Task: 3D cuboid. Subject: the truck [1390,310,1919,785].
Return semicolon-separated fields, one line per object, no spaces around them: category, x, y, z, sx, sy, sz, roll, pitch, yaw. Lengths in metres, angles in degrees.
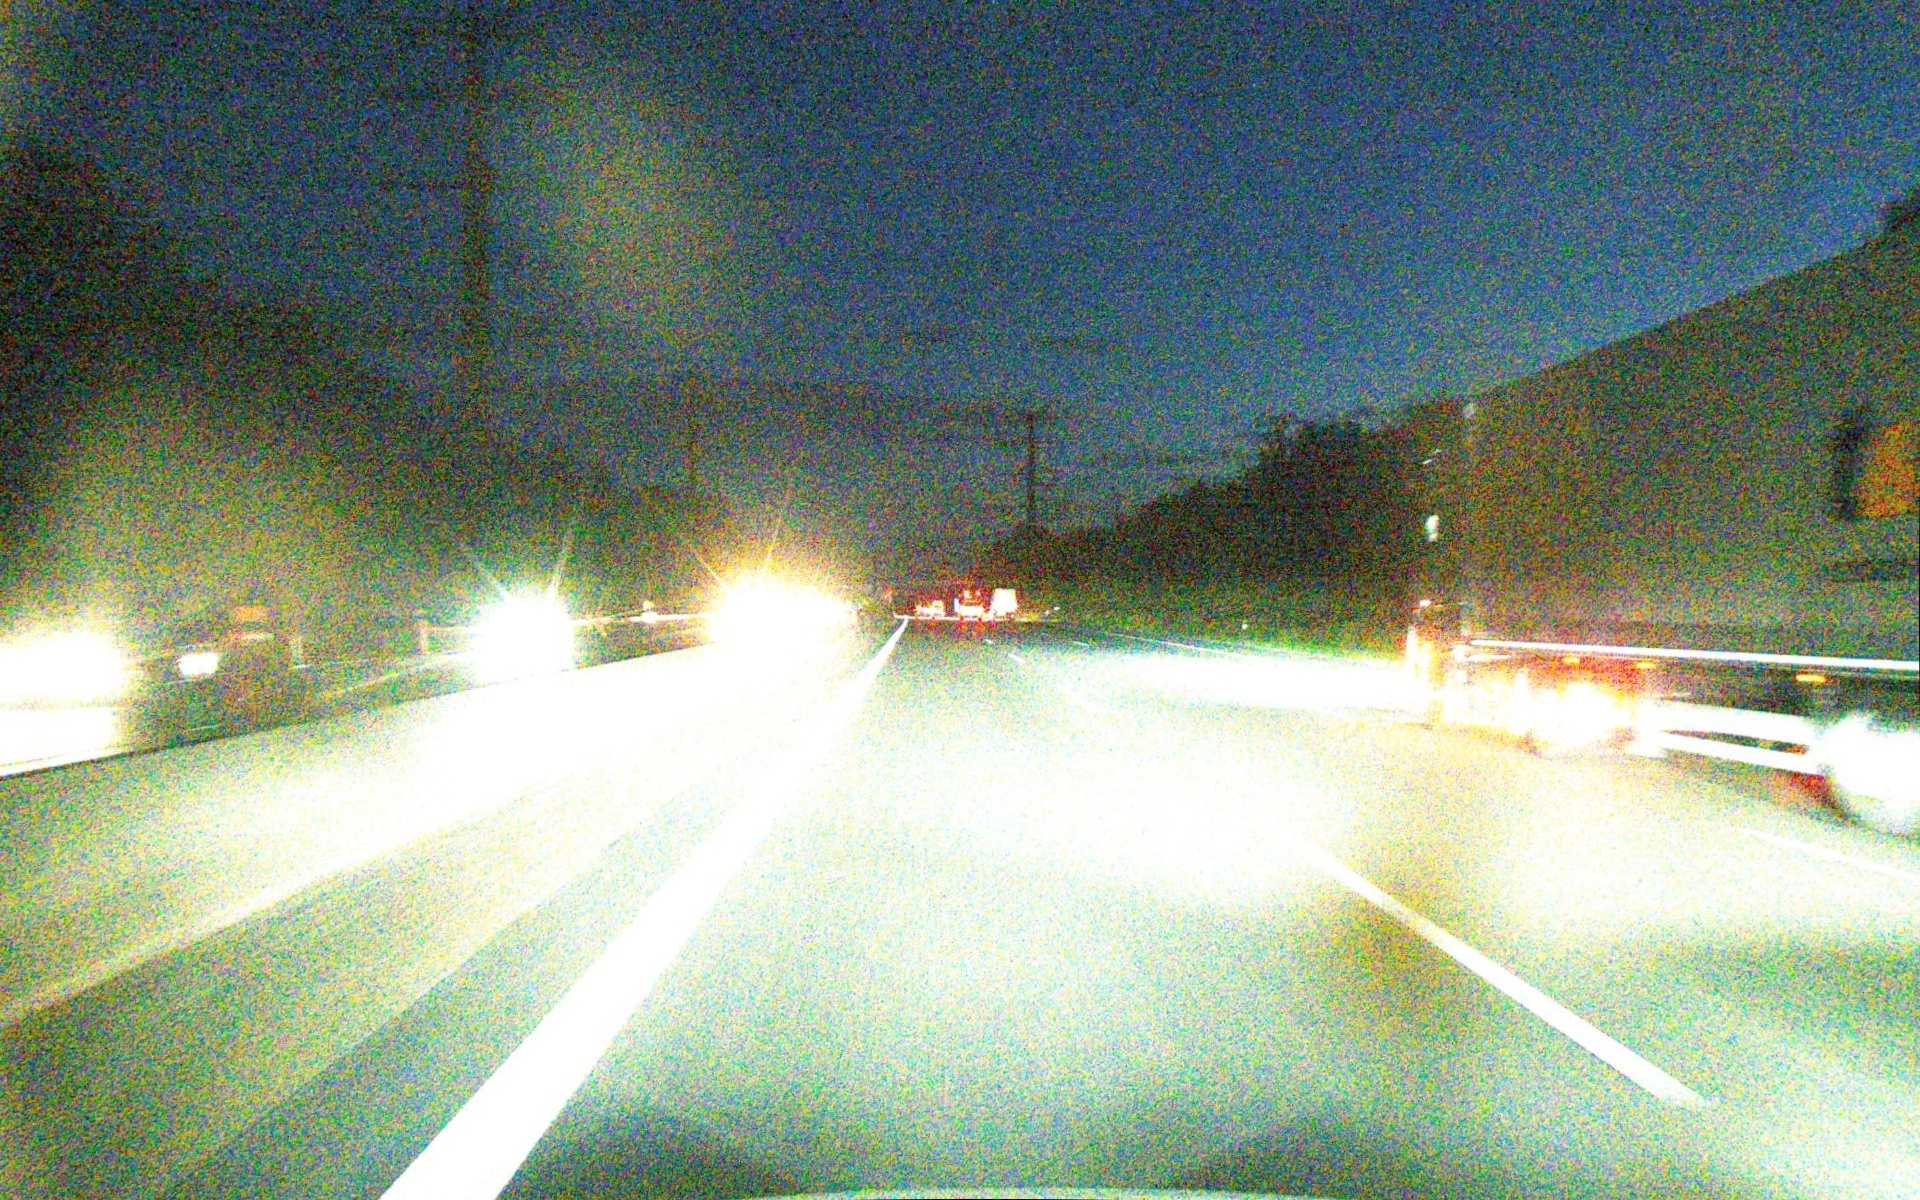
truck;7.189;-0.469;18.535;2.538;4.143;7.671;2;0;-1

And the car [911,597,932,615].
car;-3.363;0.538;145.410;1.784;1.492;4.246;2;0;-2

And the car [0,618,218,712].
car;-14.533;1.048;28.276;1.628;1.357;4.807;-2;0;-2

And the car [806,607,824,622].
car;-15.510;1.556;176.652;1.715;1.504;4.580;-2;0;-3

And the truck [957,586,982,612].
truck;1.244;-0.117;225.649;2.983;3.383;10.137;2;0;-2

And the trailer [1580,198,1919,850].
trailer;7.348;-0.460;10.891;2.538;4.143;10.006;2;0;-1

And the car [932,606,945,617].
car;-3.106;1.612;237.127;1.784;1.492;4.246;2;0;-2

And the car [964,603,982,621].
car;1.091;0.999;137.368;1.319;1.411;3.500;2;0;-2

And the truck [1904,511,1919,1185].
truck;3.899;-0.584;1.032;2.608;4.280;6.721;2;0;-1

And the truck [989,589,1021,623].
truck;3.879;0.482;144.447;2.035;2.737;7.304;2;2;-4

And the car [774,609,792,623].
car;-19.539;1.775;182.966;1.715;1.504;4.580;-2;0;-3

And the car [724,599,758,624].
car;-13.841;0.715;104.941;1.715;1.504;4.580;-2;0;-3

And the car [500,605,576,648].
car;-14.941;0.913;58.829;1.599;1.418;4.875;-2;0;-2
